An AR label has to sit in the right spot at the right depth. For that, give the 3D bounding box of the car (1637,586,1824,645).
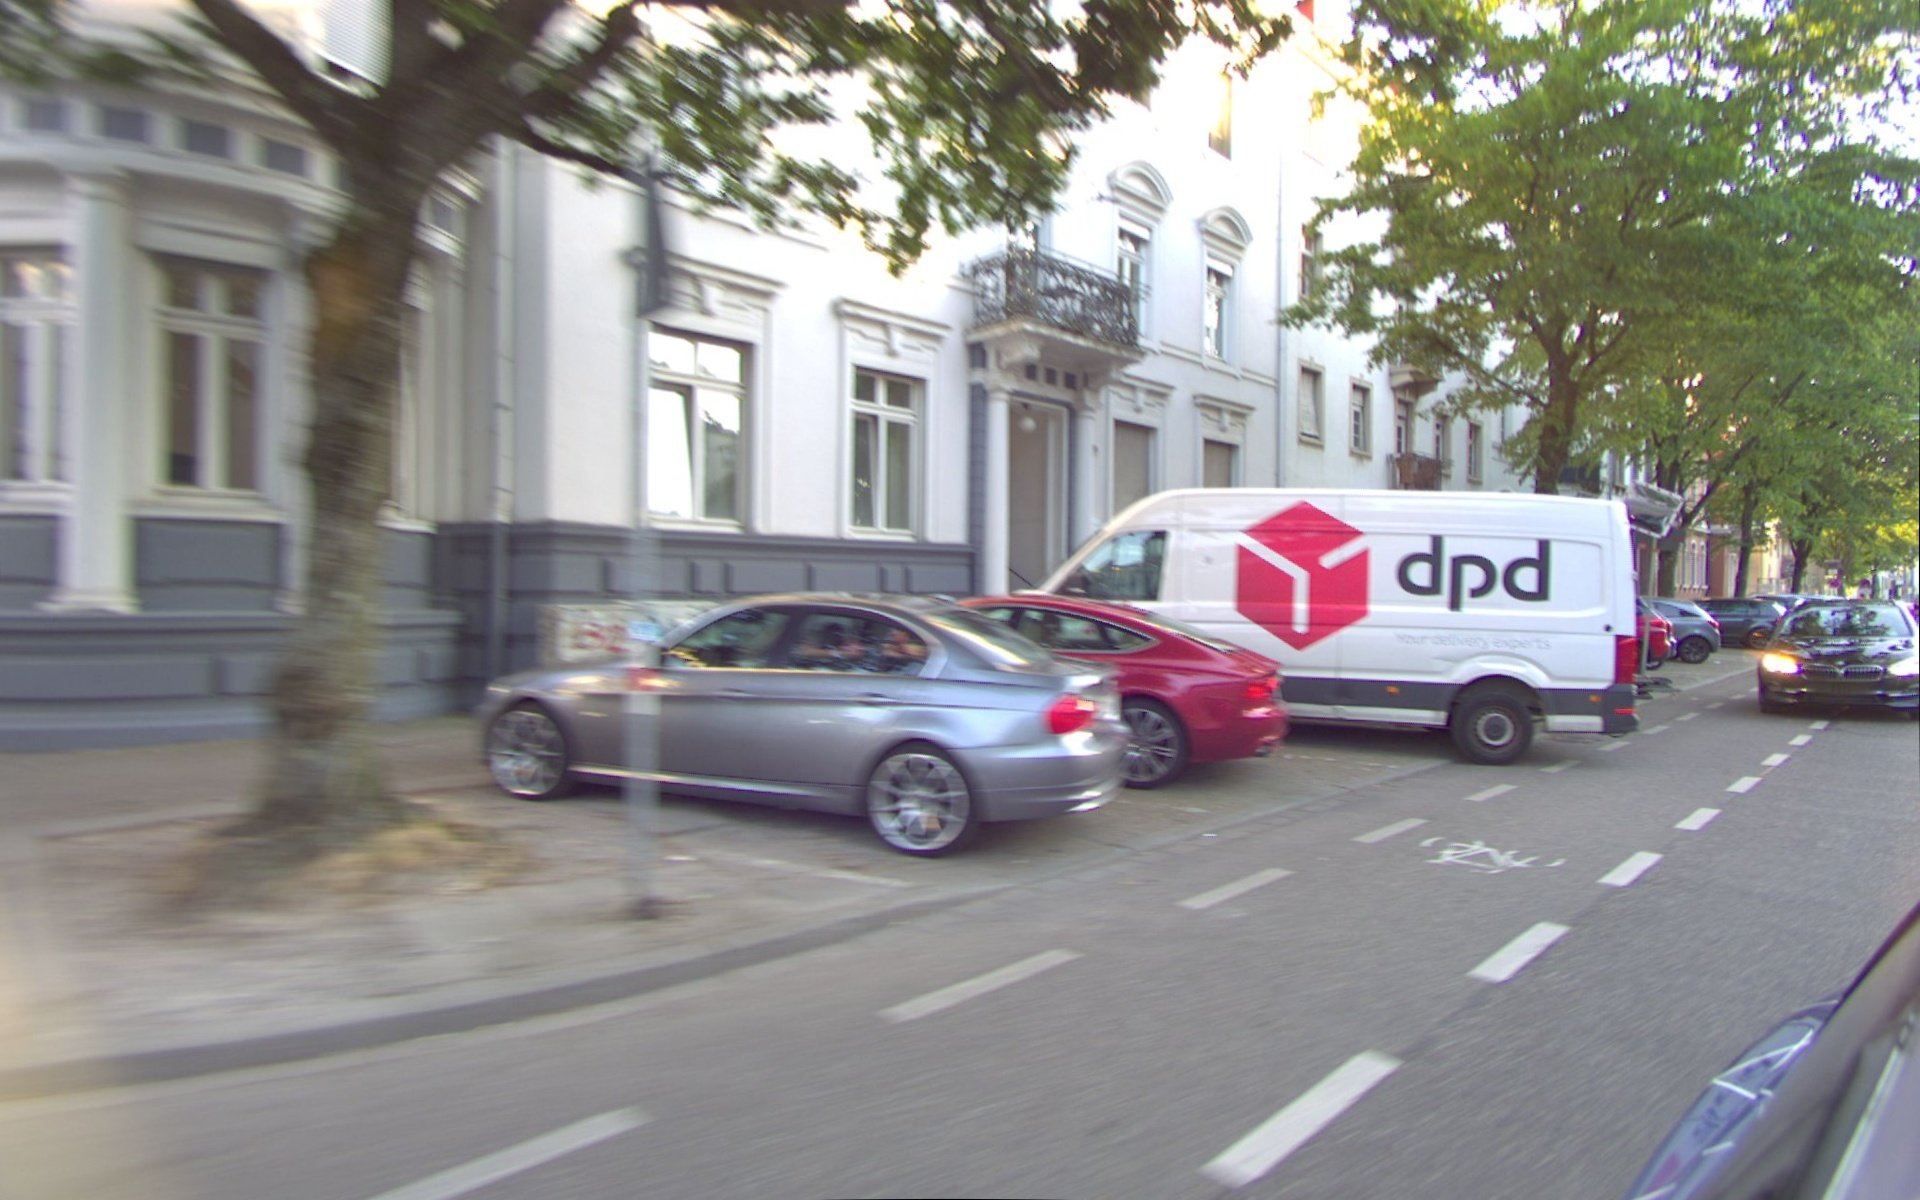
[{"bbox_3d":[22.790,0.416,30.140,4.177,1.521,1.725,3,1,30],"label":"car"}]

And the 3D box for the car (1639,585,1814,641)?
[{"bbox_3d":[24.163,0.368,32.099,4.177,1.521,1.725,3,1,30],"label":"car"}]

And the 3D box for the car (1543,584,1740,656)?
[{"bbox_3d":[15.807,0.428,23.639,3.527,1.565,1.376,1,0,18],"label":"car"}]

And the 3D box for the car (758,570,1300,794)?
[{"bbox_3d":[0.649,0.541,8.902,4.350,1.462,1.976,3,2,19],"label":"car"}]

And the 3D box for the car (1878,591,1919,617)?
[{"bbox_3d":[61.093,0.213,65.669,3.753,1.630,1.742,0,1,-39],"label":"car"}]

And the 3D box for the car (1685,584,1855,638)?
[{"bbox_3d":[27.735,0.342,34.805,4.156,1.629,1.693,2,1,18],"label":"car"}]

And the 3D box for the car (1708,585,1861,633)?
[{"bbox_3d":[31.741,0.305,39.106,4.156,1.629,1.734,2,1,18],"label":"car"}]

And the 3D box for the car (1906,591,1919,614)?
[{"bbox_3d":[70.518,0.192,73.639,4.195,1.630,1.953,0,1,-39],"label":"car"}]

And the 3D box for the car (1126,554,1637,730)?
[{"bbox_3d":[4.962,0.425,12.832,5.553,1.919,2.164,1,1,12],"label":"car"}]

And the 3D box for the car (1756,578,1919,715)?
[{"bbox_3d":[12.692,0.592,14.159,4.099,1.662,1.836,0,-3,-44],"label":"car"}]

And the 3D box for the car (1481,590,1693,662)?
[{"bbox_3d":[13.296,0.516,21.653,3.519,1.427,1.516,1,1,12],"label":"car"}]

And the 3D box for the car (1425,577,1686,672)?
[{"bbox_3d":[11.315,0.411,19.571,4.068,1.661,1.732,1,1,20],"label":"car"}]

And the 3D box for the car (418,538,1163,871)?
[{"bbox_3d":[-1.079,0.480,6.751,4.548,1.532,1.851,3,1,19],"label":"car"}]

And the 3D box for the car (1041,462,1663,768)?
[{"bbox_3d":[3.764,0.082,10.704,5.553,2.728,2.164,1,0,12],"label":"car"}]

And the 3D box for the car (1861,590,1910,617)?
[{"bbox_3d":[57.076,0.200,62.400,3.753,1.630,1.742,0,1,-39],"label":"car"}]

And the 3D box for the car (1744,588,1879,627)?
[{"bbox_3d":[37.412,0.324,44.562,4.155,1.630,1.734,1,0,18],"label":"car"}]
